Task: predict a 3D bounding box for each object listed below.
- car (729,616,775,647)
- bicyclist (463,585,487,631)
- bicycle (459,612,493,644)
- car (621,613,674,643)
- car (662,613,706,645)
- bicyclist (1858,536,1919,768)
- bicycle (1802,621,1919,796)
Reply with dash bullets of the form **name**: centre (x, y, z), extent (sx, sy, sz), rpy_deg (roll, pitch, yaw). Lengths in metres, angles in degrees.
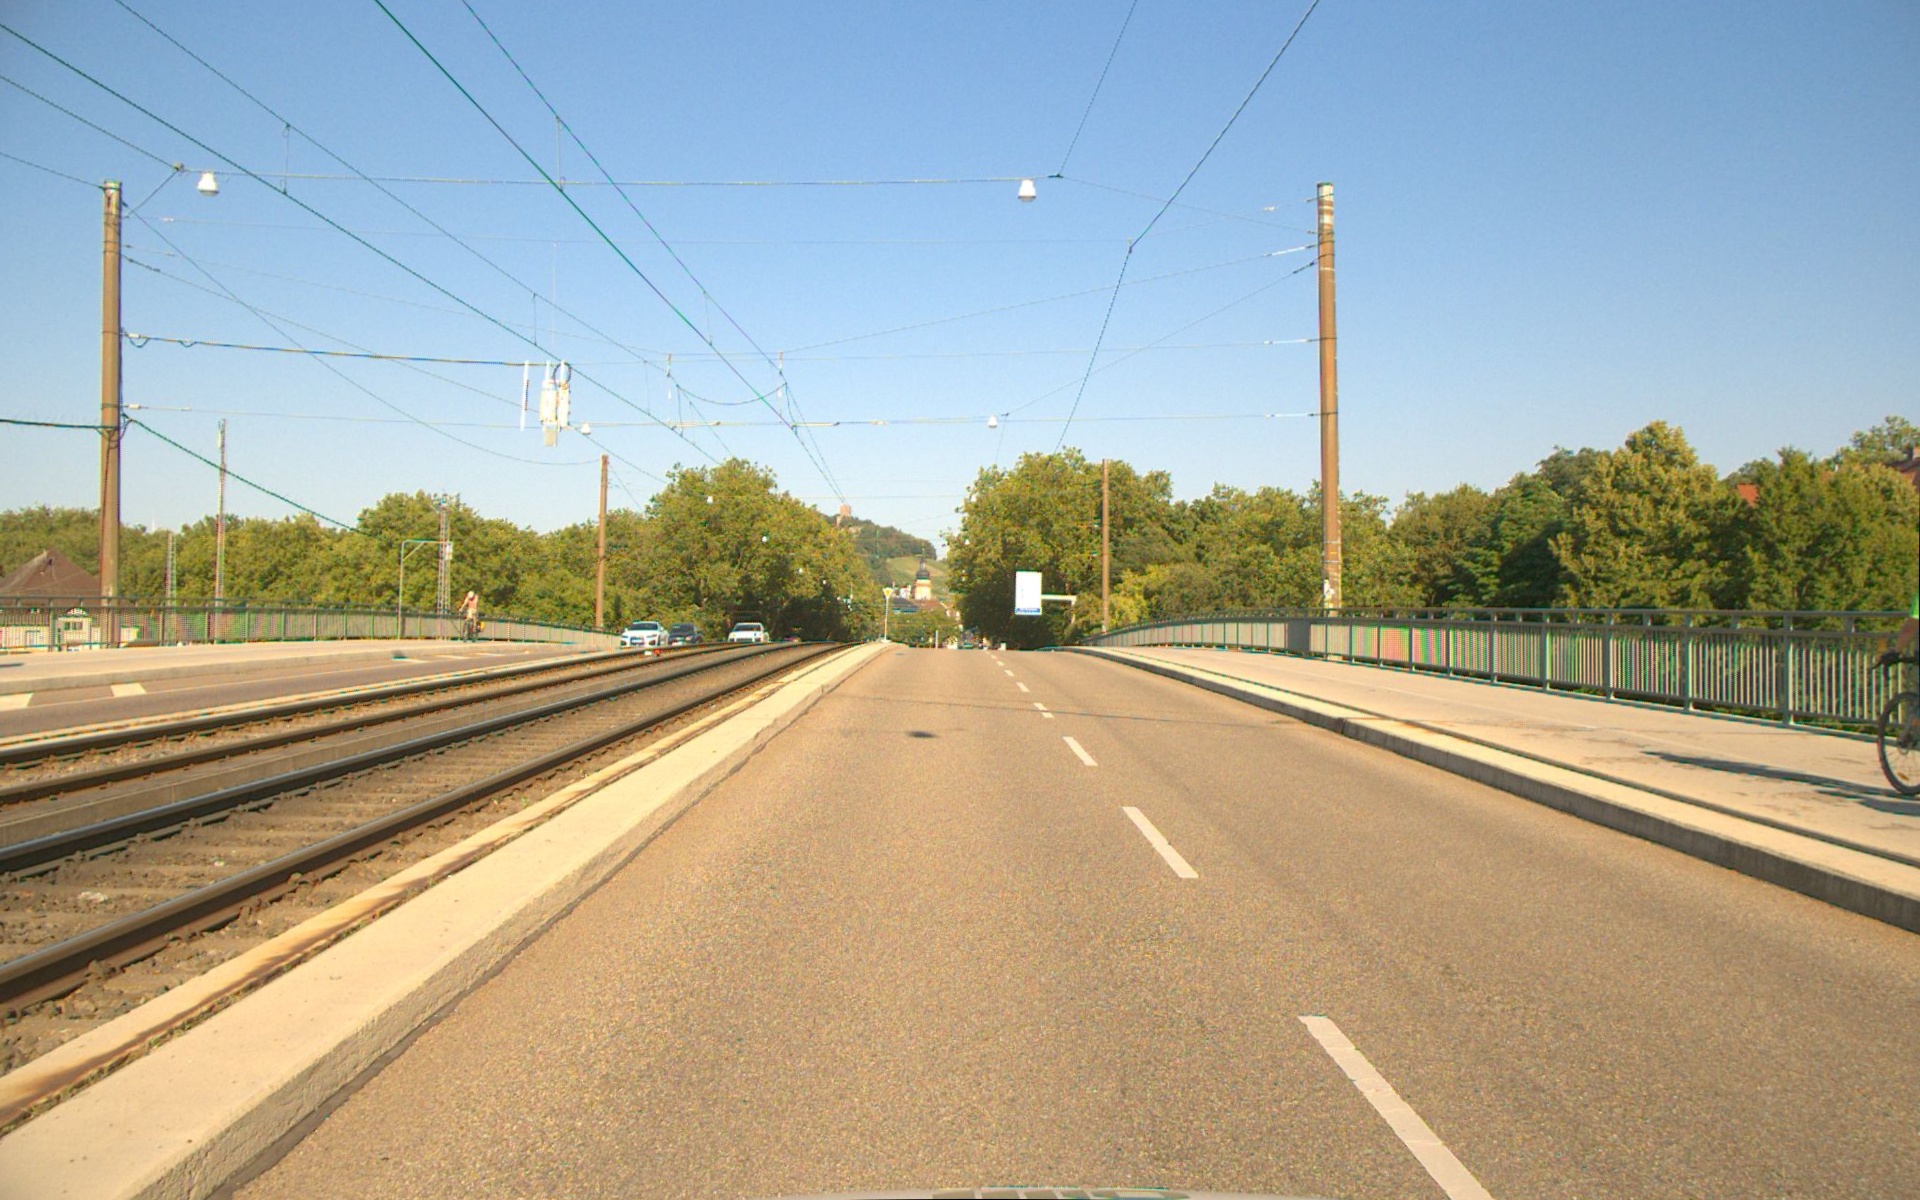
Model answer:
- **car**: centre (-11.623, 1.767, 92.637), extent (1.960, 1.666, 5.089), rpy_deg (1, -1, -1)
- **bicyclist**: centre (-17.809, 0.300, 60.782), extent (0.612, 1.662, 0.935), rpy_deg (1, -1, -2)
- **bicycle**: centre (-17.826, 1.038, 60.960), extent (0.612, 1.142, 2.258), rpy_deg (1, -1, -2)
- **car**: centre (-14.939, 1.335, 79.389), extent (1.649, 1.380, 4.919), rpy_deg (1, -1, -1)
- **car**: centre (-15.162, 1.601, 91.048), extent (1.743, 1.679, 4.446), rpy_deg (1, -1, -1)
- **bicyclist**: centre (6.641, 0.348, 11.126), extent (0.612, 1.534, 1.005), rpy_deg (1, -1, -3)
- **bicycle**: centre (6.628, 0.726, 11.197), extent (0.612, 1.142, 2.258), rpy_deg (1, 0, -3)
